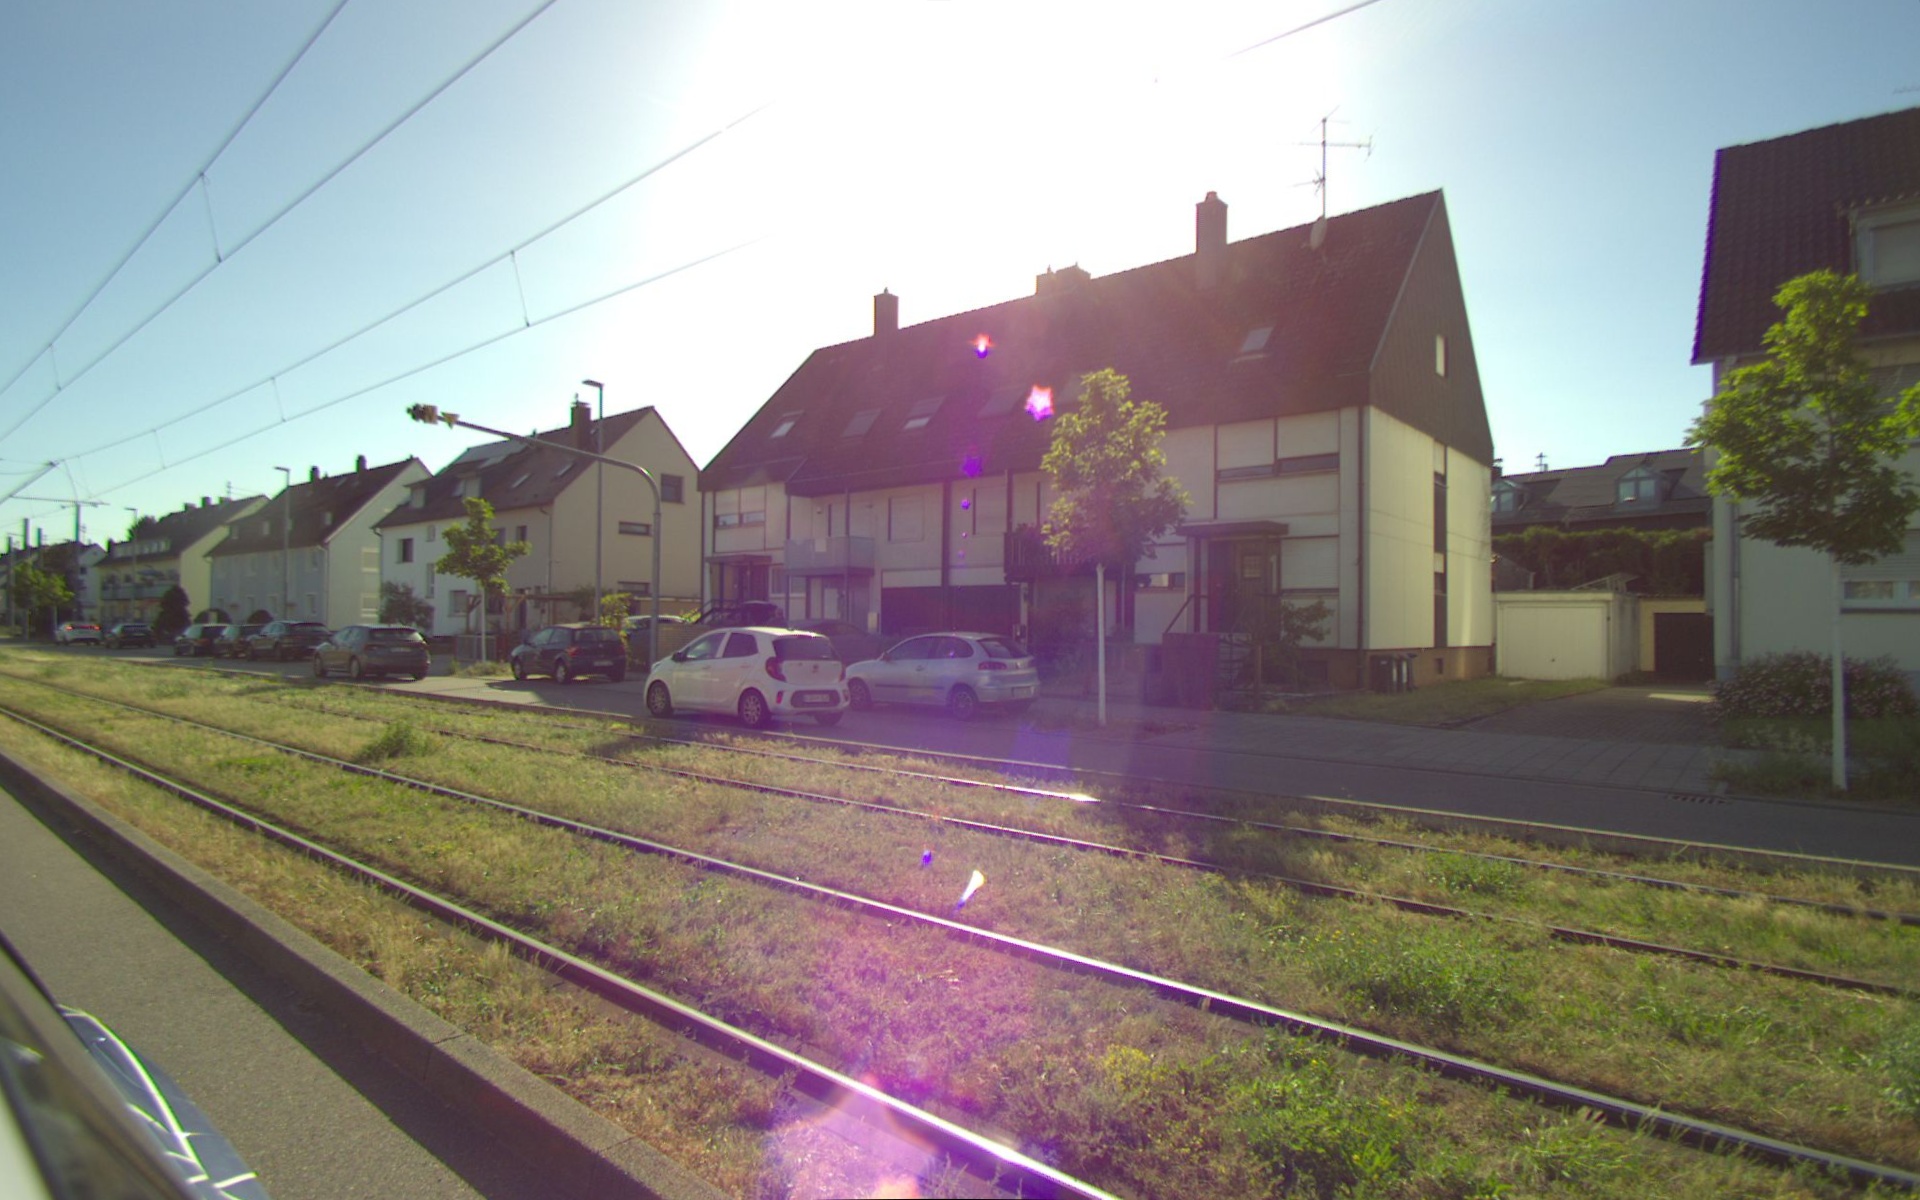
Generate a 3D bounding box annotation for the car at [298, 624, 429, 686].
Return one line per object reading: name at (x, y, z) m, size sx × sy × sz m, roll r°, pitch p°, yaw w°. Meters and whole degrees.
car at (-15.802, 1.416, 26.747) m, size 4.080 × 1.487 × 1.671 m, roll -1°, pitch -4°, yaw 40°

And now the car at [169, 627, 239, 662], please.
car at (-34.755, 2.018, 46.468) m, size 4.397 × 1.466 × 1.637 m, roll -1°, pitch 0°, yaw 40°

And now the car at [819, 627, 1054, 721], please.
car at (-0.492, 1.216, 17.808) m, size 4.100 × 1.447 × 1.641 m, roll -1°, pitch -1°, yaw 40°

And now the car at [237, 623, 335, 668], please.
car at (-26.576, 1.746, 39.838) m, size 4.854 × 1.572 × 1.901 m, roll -1°, pitch 0°, yaw 40°

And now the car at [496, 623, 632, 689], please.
car at (-10.251, 1.383, 26.036) m, size 4.084 × 1.523 × 1.602 m, roll -1°, pitch -1°, yaw 42°

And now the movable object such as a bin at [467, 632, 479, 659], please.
movable object such as a bin at (-18.623, 1.752, 38.722) m, size 0.607 × 1.021 × 0.196 m, roll -3°, pitch -2°, yaw 43°

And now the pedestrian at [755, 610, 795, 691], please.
pedestrian at (-4.264, 1.147, 23.338) m, size 0.676 × 1.829 × 0.610 m, roll -1°, pitch 0°, yaw 32°

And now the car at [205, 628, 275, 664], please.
car at (-30.711, 1.944, 43.129) m, size 3.995 × 1.479 × 1.451 m, roll -2°, pitch -3°, yaw 39°

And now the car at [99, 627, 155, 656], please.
car at (-46.035, 2.265, 55.918) m, size 4.089 × 1.408 × 1.683 m, roll -1°, pitch 0°, yaw 40°

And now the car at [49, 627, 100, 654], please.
car at (-55.309, 2.487, 63.169) m, size 4.089 × 1.542 × 1.808 m, roll -1°, pitch 0°, yaw 40°

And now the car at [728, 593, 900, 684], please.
car at (-3.816, 0.946, 27.103) m, size 1.786 × 2.096 × 4.414 m, roll -1°, pitch 2°, yaw 41°

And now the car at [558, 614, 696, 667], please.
car at (-11.889, 1.419, 36.372) m, size 1.968 × 1.797 × 4.347 m, roll -2°, pitch -2°, yaw 40°

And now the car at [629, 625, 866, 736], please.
car at (-3.368, 1.173, 15.739) m, size 3.677 × 1.487 × 1.671 m, roll -1°, pitch -3°, yaw 40°

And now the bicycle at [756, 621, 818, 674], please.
bicycle at (-4.064, 1.083, 23.670) m, size 0.471 × 1.172 × 1.873 m, roll 0°, pitch 0°, yaw -43°
